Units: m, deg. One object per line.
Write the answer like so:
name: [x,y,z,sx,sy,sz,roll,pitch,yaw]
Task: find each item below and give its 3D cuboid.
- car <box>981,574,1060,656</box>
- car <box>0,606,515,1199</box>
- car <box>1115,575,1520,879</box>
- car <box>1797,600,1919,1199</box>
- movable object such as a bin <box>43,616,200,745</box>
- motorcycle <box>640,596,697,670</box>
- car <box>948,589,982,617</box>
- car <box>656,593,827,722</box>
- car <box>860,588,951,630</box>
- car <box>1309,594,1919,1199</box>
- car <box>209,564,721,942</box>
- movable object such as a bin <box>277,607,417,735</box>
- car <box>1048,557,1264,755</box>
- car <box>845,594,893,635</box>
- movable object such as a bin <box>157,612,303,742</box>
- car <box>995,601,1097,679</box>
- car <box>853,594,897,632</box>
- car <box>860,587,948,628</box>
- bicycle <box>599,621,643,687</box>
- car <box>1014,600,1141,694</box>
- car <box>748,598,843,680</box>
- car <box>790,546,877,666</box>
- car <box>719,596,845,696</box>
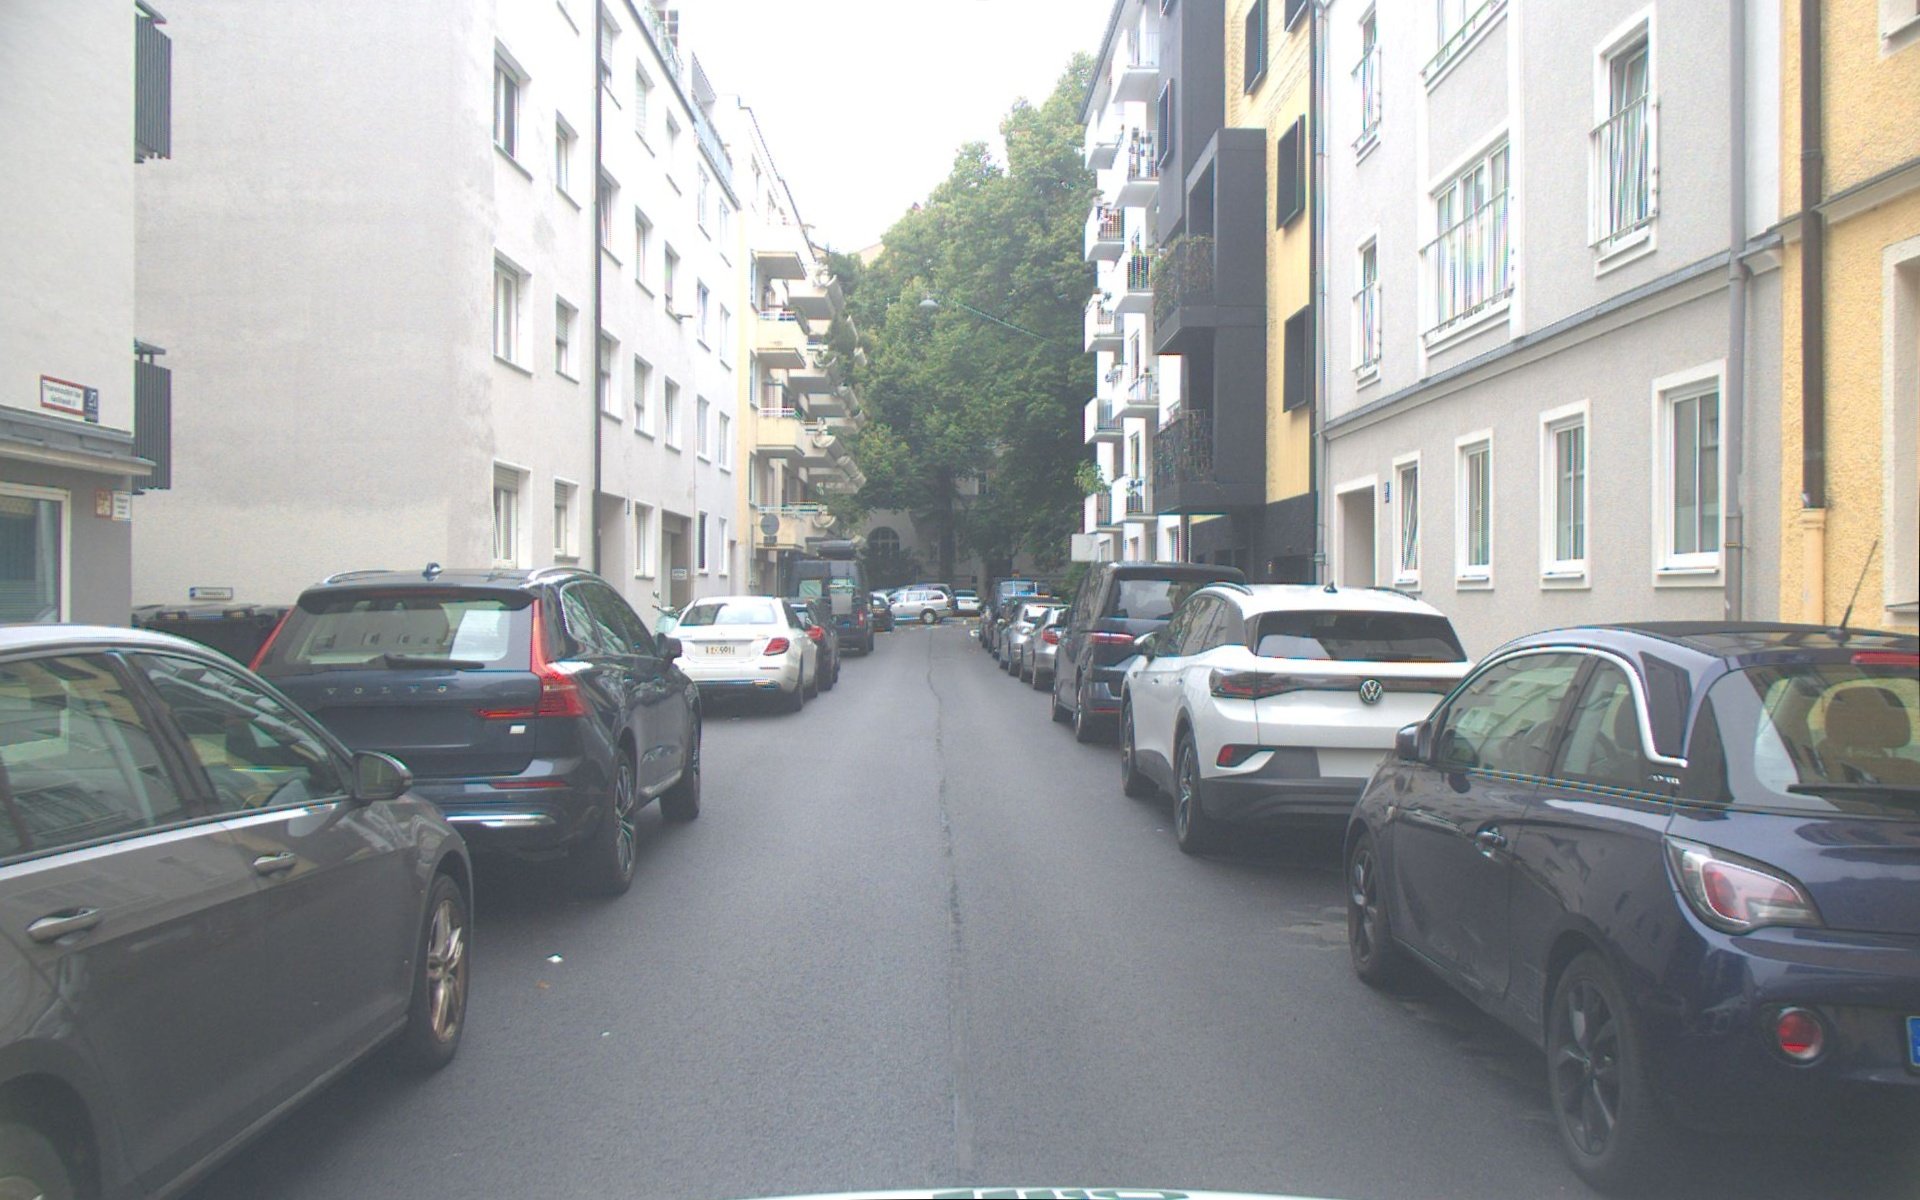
car: [1.603,0.382,45.436,1.792,2.034,4.414,3,0,-2]
car: [-2.332,0.778,3.850,1.659,1.467,3.975,-1,0,-3]
car: [2.174,0.686,11.292,1.648,1.595,4.414,3,0,-1]
car: [2.571,0.804,1.041,1.716,1.495,4.341,3,0,-3]
movable object such as a bin: [-9.431,0.892,18.654,1.205,1.360,0.993,-2,0,1]
motorcycle: [-5.714,0.617,32.489,0.666,1.374,2.486,1,0,0]
car: [0.242,0.139,88.059,1.609,1.407,3.744,-3,0,-2]
car: [-2.891,0.702,22.745,1.741,1.513,4.518,-3,0,-1]
car: [-2.331,0.376,71.062,3.808,1.612,1.647,-3,0,-3]
car: [2.483,0.770,5.774,1.630,1.495,3.818,3,0,-1]
car: [-2.536,0.672,9.633,1.741,1.658,4.413,-1,0,-2]
movable object such as a bin: [-6.941,0.791,18.793,1.142,1.360,1.025,-2,0,1]
car: [2.098,0.553,18.894,1.792,1.943,4.414,2,0,-1]
car: [-3.345,0.517,61.124,1.609,1.407,3.481,-3,0,-2]
movable object such as a bin: [-8.161,0.844,18.531,1.134,1.360,0.993,-2,0,1]
car: [1.798,0.812,35.810,1.792,1.479,4.414,3,0,-2]
car: [-3.311,0.491,65.107,1.609,1.407,3.481,-3,0,-2]
car: [-2.477,0.319,73.030,3.808,1.612,1.647,-3,0,-3]
bicycle: [-5.504,0.868,26.889,0.388,0.999,1.655,2,0,-2]
car: [2.047,0.788,29.921,1.792,1.479,4.414,3,0,-2]
car: [-3.231,0.733,32.985,1.609,1.478,3.161,-3,0,-2]
car: [-3.195,0.134,42.472,1.898,2.850,4.531,-3,0,-2]
car: [-2.923,0.715,27.851,1.741,1.478,4.045,-3,0,-2]
